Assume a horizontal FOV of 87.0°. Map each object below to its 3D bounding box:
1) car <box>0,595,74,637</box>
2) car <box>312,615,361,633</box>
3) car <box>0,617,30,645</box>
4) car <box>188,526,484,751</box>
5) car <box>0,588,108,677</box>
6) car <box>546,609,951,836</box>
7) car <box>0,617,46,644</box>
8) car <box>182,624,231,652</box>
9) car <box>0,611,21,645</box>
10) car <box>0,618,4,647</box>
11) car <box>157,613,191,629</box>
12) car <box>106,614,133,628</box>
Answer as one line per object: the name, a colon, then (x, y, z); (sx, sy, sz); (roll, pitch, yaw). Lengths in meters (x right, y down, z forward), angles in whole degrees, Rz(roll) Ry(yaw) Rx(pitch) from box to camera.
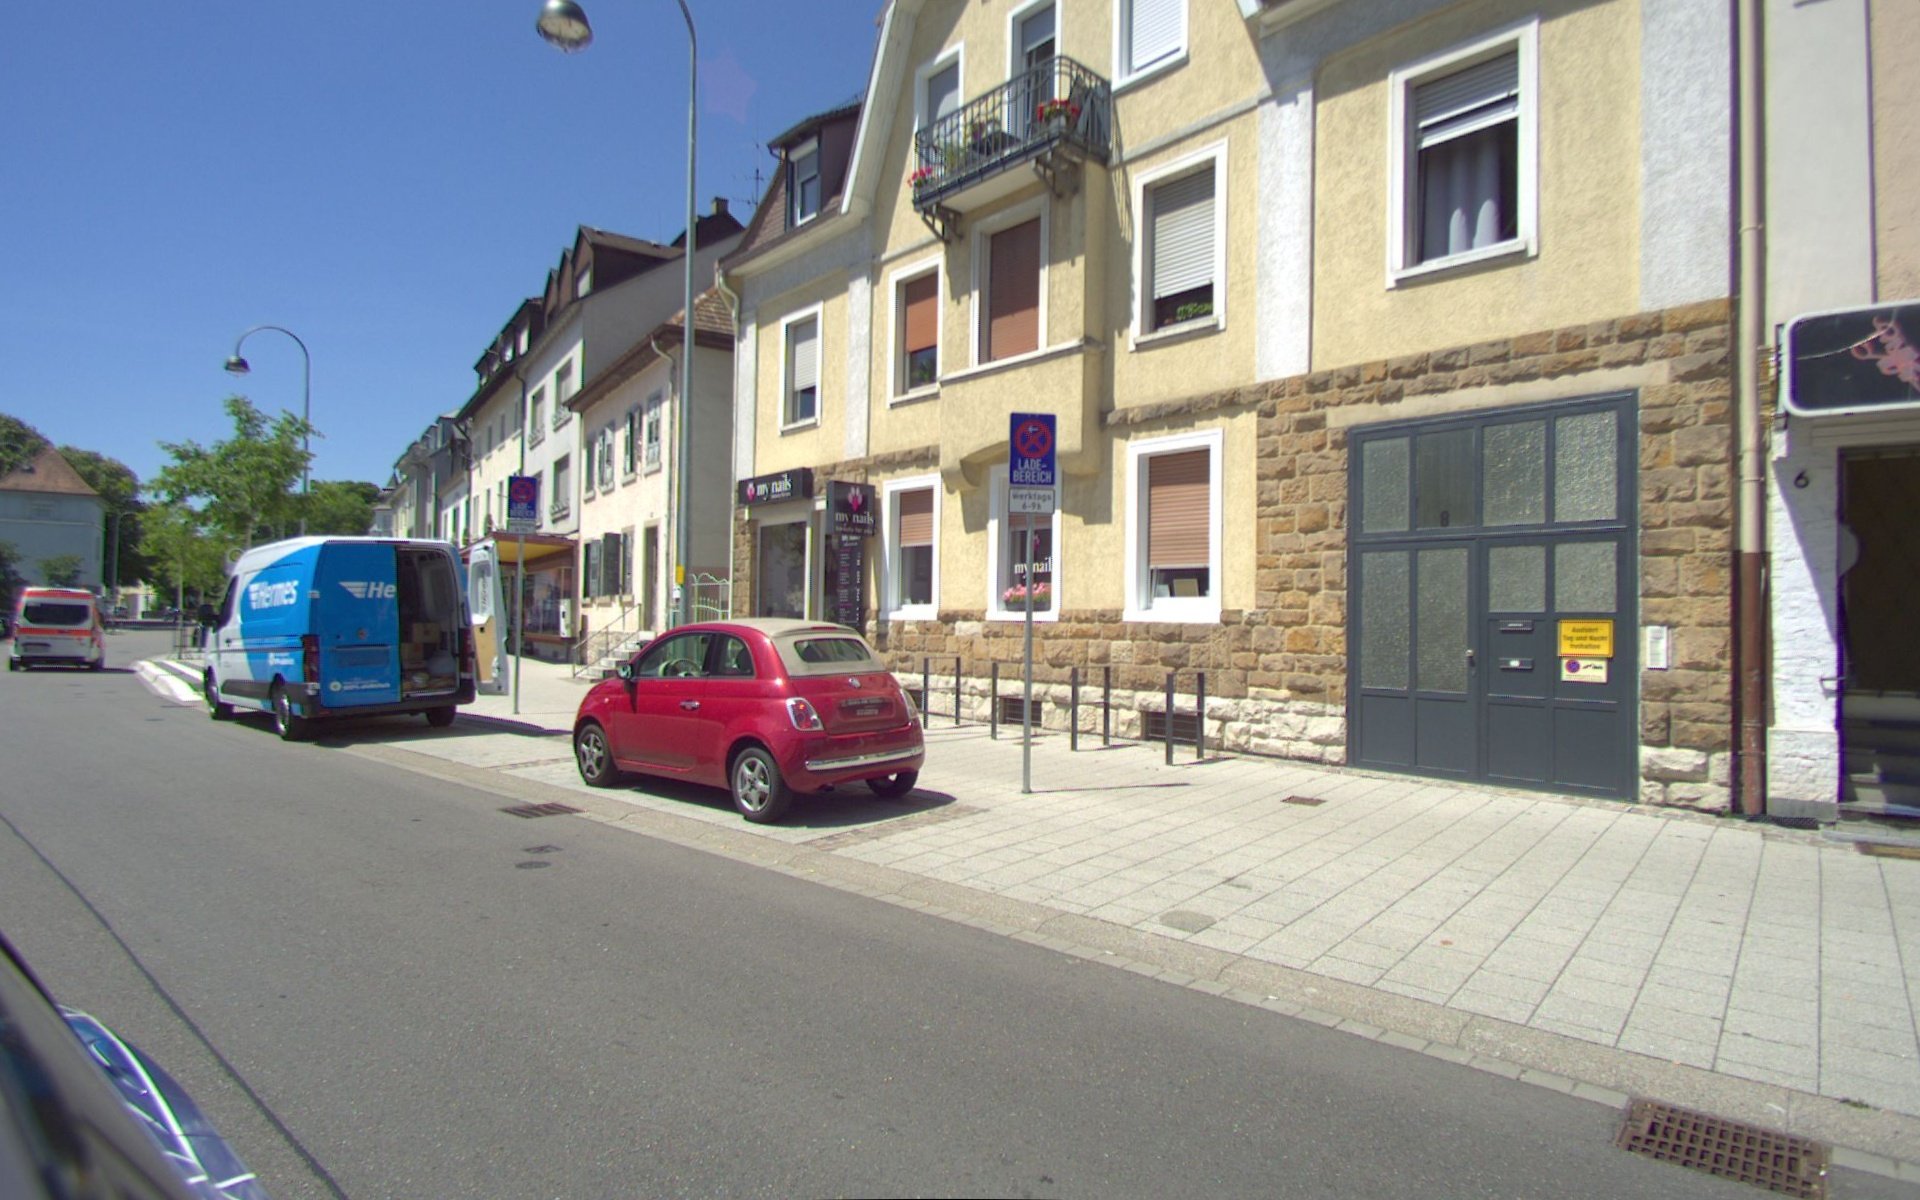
car: (-64.263, 1.104, 69.459); (4.788, 2.757, 1.856); (3, -2, -32)
car: (-62.751, 2.432, 101.888); (4.012, 1.752, 1.820); (3, -2, -28)
car: (-53.922, 1.655, 55.810); (3.559, 1.473, 1.621); (4, -3, -34)
car: (-8.781, 0.461, 13.984); (5.502, 2.517, 2.069); (-1, -1, 43)
car: (-26.663, 0.969, 29.882); (2.129, 2.380, 5.255); (4, -4, -41)
car: (-1.921, 0.866, 8.698); (3.512, 1.532, 1.544); (0, -1, 39)
car: (-54.978, 1.729, 57.844); (3.756, 1.473, 1.656); (3, -2, -34)
car: (-43.435, 2.181, 58.415); (1.657, 1.495, 3.780); (-1, 0, -27)
car: (-52.440, 1.444, 53.514); (3.757, 1.800, 1.845); (3, -3, -35)
car: (-51.059, 1.593, 51.115); (3.757, 1.493, 1.783); (3, -3, -35)
car: (-81.890, 2.178, 105.445); (3.854, 1.465, 1.603); (1, -3, 34)
car: (-96.468, 2.432, 116.147); (4.085, 1.495, 1.663); (-1, -4, 42)
